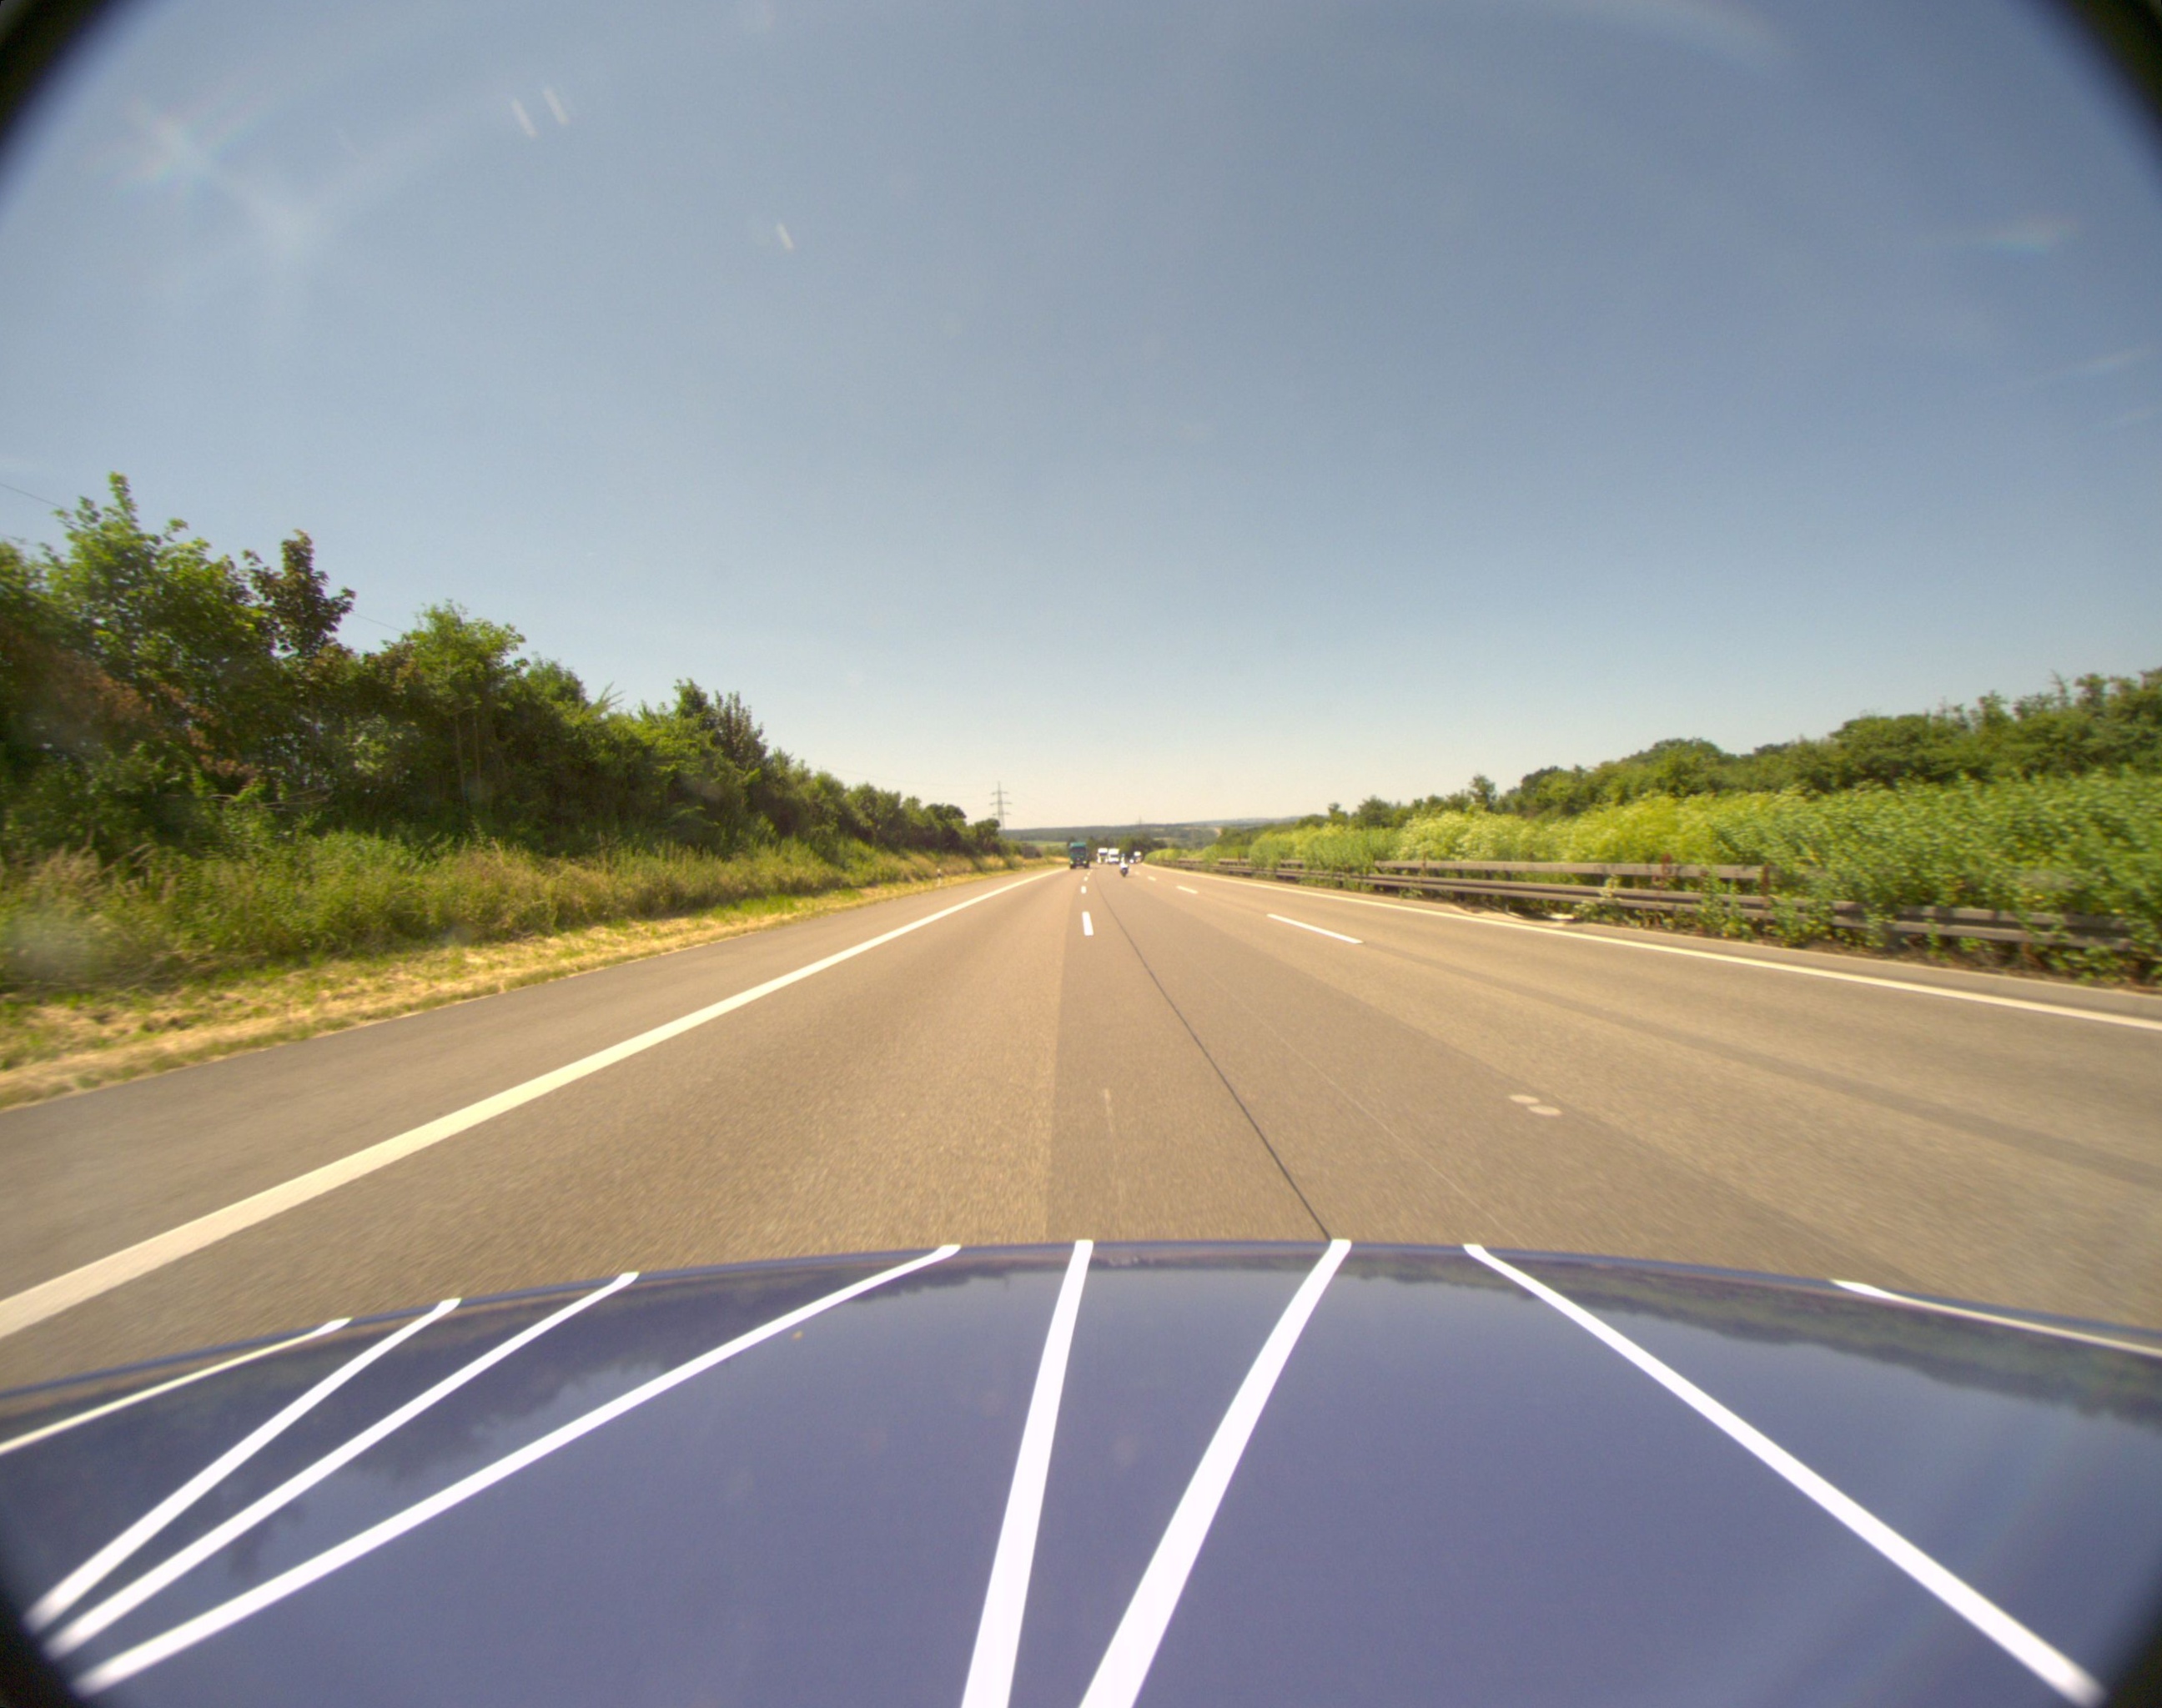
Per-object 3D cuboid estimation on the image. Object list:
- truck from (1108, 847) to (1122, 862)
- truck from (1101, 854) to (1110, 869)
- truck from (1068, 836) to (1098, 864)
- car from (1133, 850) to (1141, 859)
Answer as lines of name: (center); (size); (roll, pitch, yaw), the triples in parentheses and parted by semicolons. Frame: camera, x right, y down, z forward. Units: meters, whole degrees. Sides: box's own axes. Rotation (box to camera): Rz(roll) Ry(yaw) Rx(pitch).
truck: (7.291, 0.077, 163.129); (2.513, 3.268, 8.107); (-1, 0, 0)
truck: (6.705, 2.039, 208.129); (2.567, 4.129, 6.249); (-1, 0, 2)
truck: (0.398, -0.503, 109.556); (2.871, 3.702, 12.769); (-1, 0, 6)
car: (12.694, 0.055, 173.681); (1.704, 1.958, 4.001); (-1, 0, 3)
